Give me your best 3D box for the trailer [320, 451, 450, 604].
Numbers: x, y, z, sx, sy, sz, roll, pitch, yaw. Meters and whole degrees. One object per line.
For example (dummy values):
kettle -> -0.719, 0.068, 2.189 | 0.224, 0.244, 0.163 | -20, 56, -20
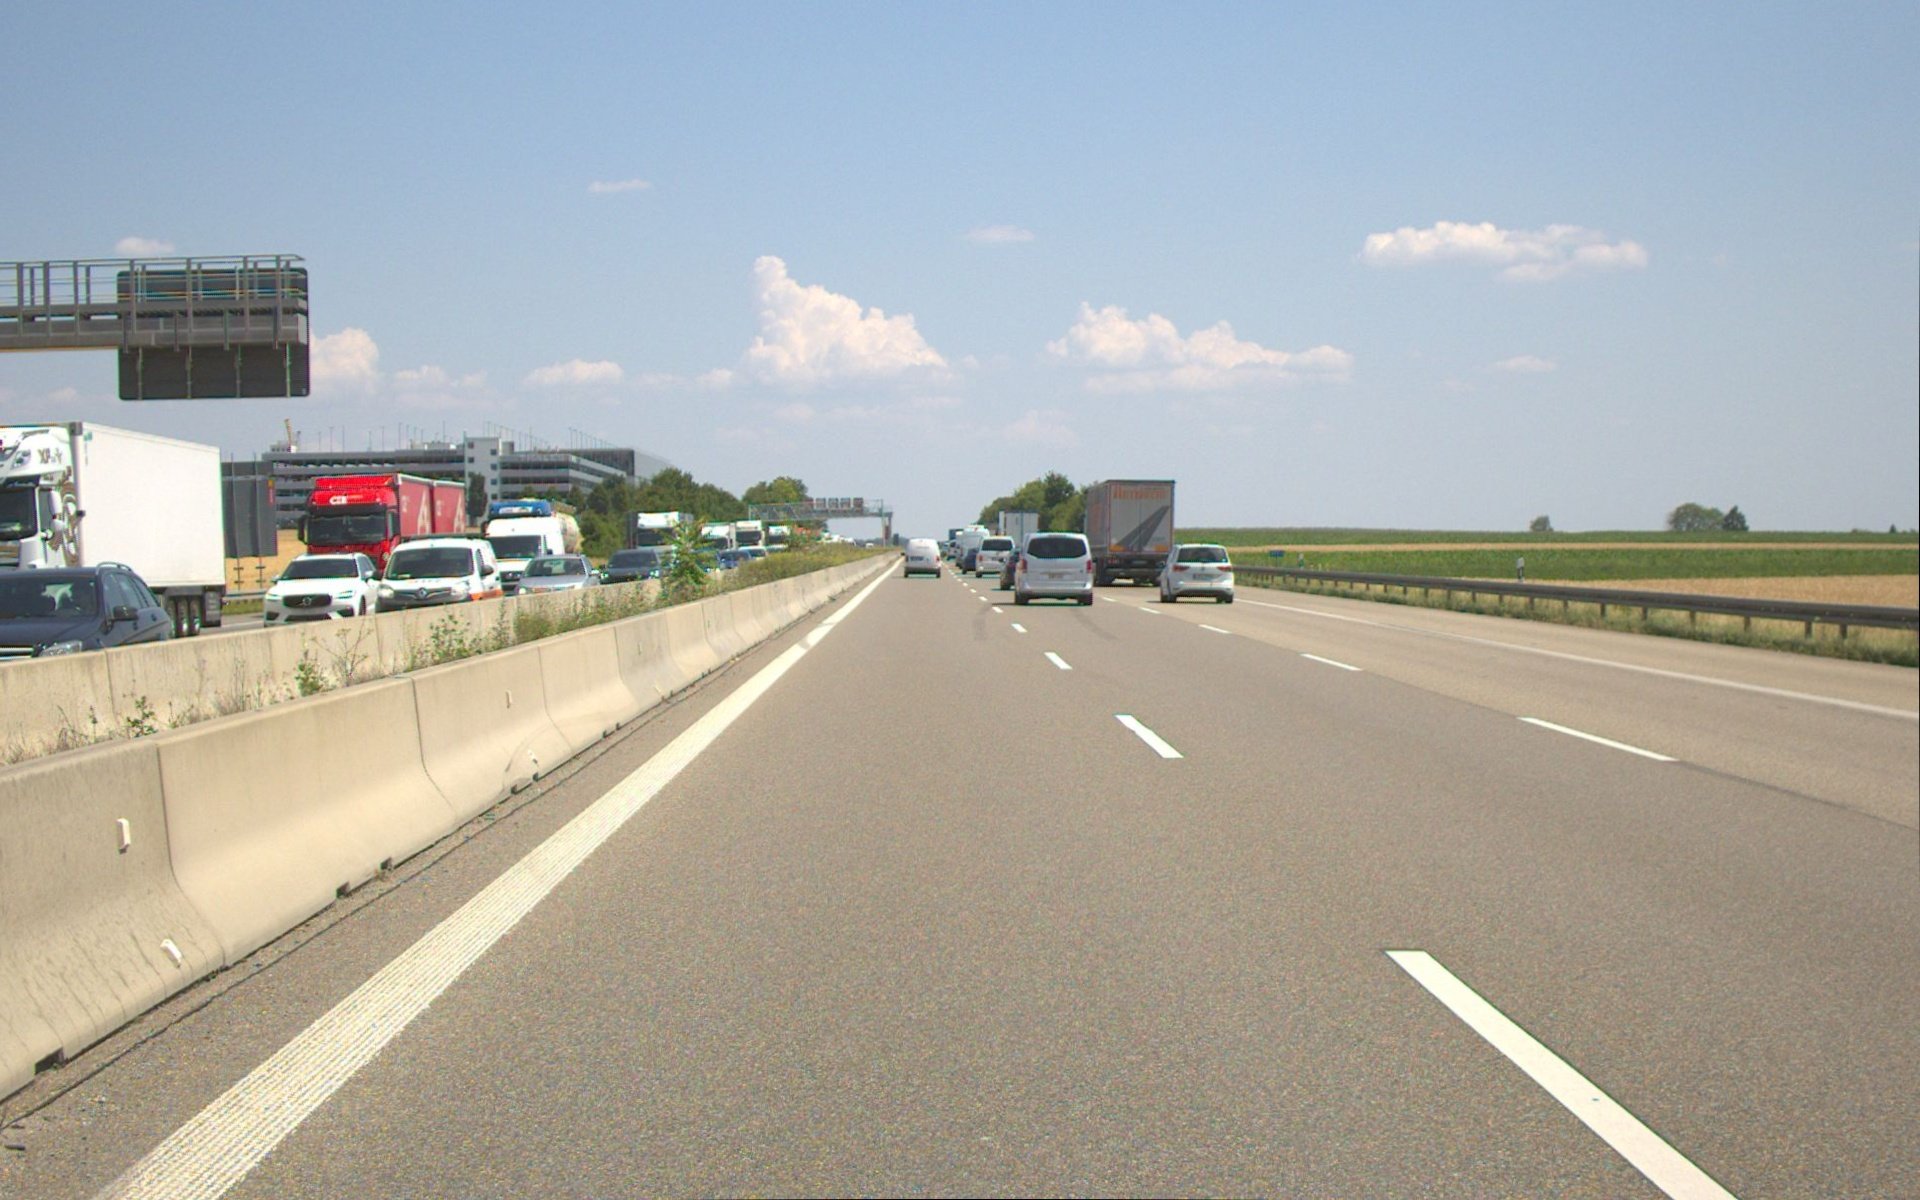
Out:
trailer -> -17.899, -2.246, 107.504 | 2.776, 4.582, 8.603 | 0, 1, -1

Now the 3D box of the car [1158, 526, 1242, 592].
car -> 6.583, -1.109, 94.652 | 1.993, 1.788, 4.000 | 0, 0, -1

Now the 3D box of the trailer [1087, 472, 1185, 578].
trailer -> 6.812, -2.850, 134.107 | 3.277, 3.953, 9.113 | 0, 0, -1

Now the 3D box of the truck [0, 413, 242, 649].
truck -> -16.908, -1.326, 67.650 | 2.950, 4.144, 12.868 | -2, 1, -1

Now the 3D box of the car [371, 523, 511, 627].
car -> -9.084, -0.465, 60.533 | 1.816, 1.747, 4.994 | 0, 1, -1

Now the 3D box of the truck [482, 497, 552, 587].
truck -> -18.098, -2.390, 140.700 | 2.109, 3.588, 7.122 | 0, 1, -1

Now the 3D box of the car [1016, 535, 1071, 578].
car -> 2.906, -1.492, 119.803 | 1.773, 1.442, 4.000 | 0, 0, -1

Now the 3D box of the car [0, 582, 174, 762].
car -> -8.552, 0.613, 31.762 | 1.673, 1.482, 4.398 | 0, 1, -1

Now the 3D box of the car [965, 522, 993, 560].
car -> 1.206, -3.748, 219.902 | 1.773, 2.384, 4.000 | 0, 0, -1

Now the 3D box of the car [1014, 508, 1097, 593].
car -> 2.443, -1.256, 88.801 | 1.993, 2.112, 4.000 | 0, 0, -1

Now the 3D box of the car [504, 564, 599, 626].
car -> -9.374, -0.129, 79.065 | 1.816, 1.345, 3.774 | 0, 1, -1

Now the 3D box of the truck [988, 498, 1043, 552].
truck -> 4.122, -5.575, 257.016 | 3.815, 3.891, 9.581 | -1, 1, -1

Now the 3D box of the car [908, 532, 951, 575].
car -> -1.455, -2.202, 163.585 | 1.993, 2.007, 4.000 | 0, 0, -1

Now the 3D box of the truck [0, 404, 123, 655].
truck -> -16.761, -1.185, 59.929 | 2.950, 4.144, 5.472 | -2, 1, -1

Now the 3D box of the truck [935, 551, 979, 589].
truck -> -0.177, -1.649, 186.386 | 2.211, 2.007, 4.972 | -1, 1, -1

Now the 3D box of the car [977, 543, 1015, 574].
car -> 1.716, -2.006, 165.822 | 1.773, 1.442, 4.000 | 0, 0, -1

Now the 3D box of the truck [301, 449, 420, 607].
truck -> -17.752, -2.130, 101.978 | 2.776, 4.582, 4.724 | 0, 1, -1

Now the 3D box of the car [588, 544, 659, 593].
car -> -9.459, -0.895, 96.897 | 1.718, 1.345, 3.774 | 0, 1, -1

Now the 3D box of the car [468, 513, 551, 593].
car -> -13.508, -1.430, 103.295 | 1.859, 2.328, 5.708 | 0, 1, -1
